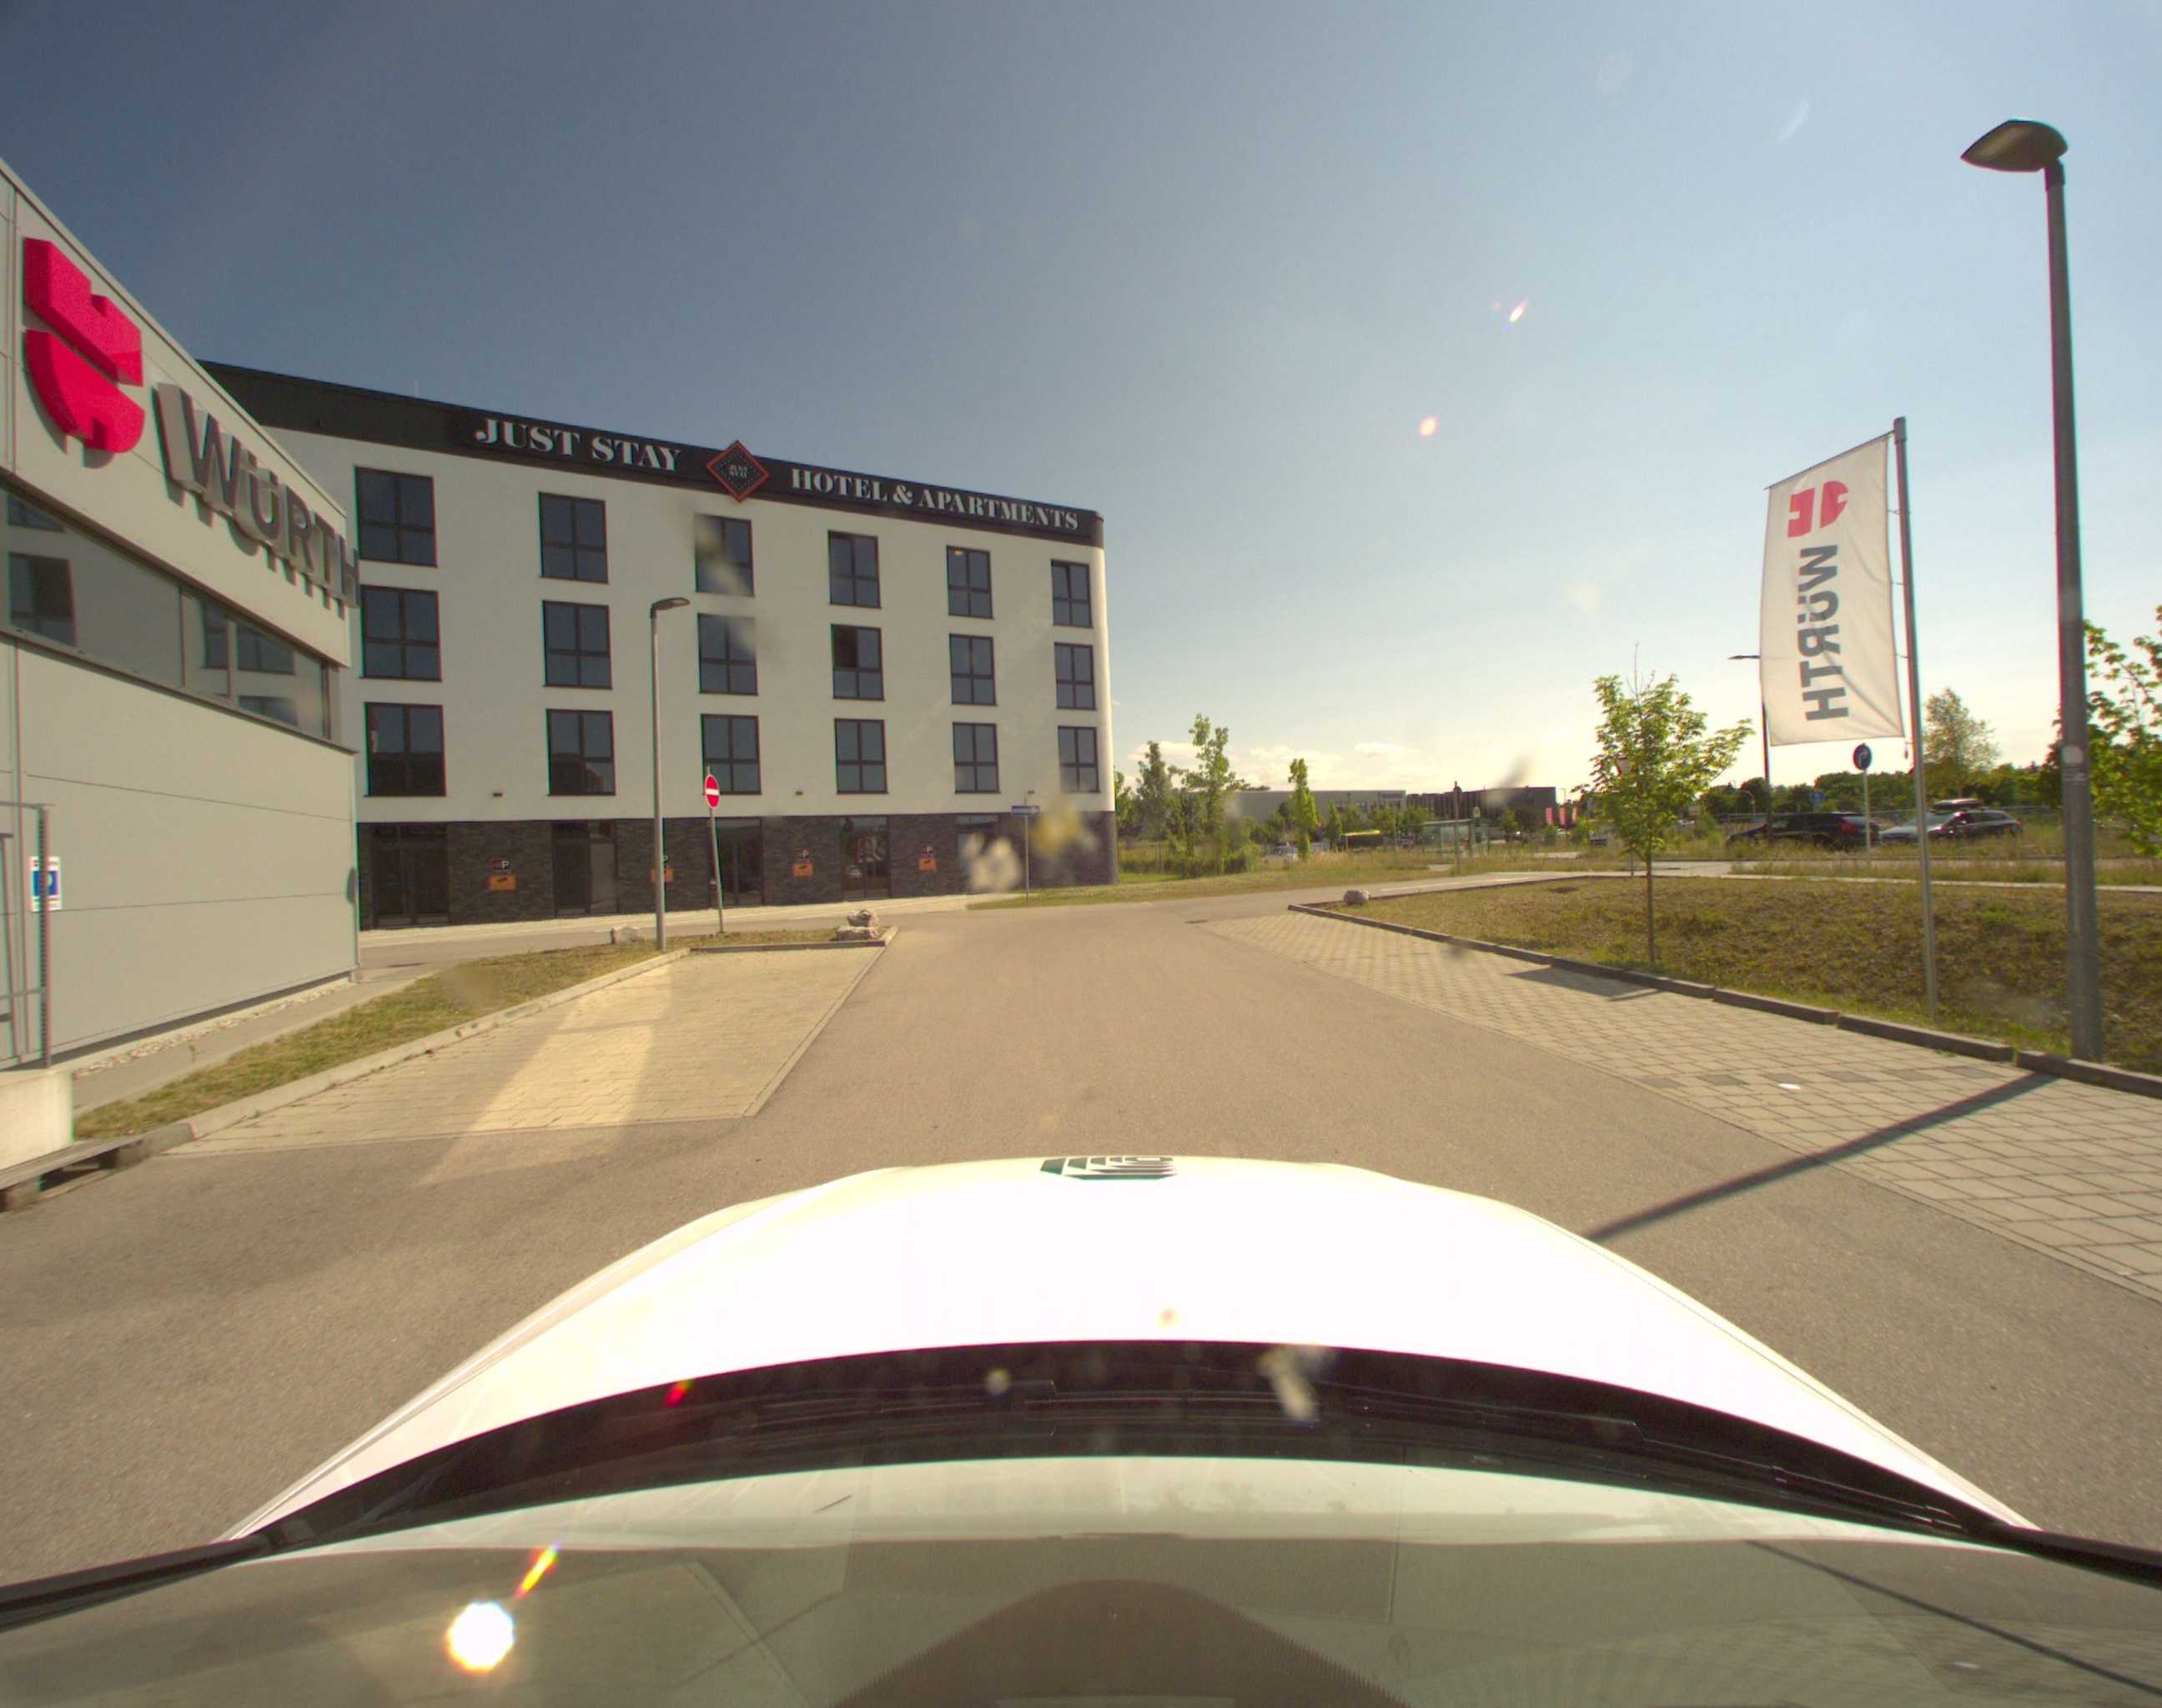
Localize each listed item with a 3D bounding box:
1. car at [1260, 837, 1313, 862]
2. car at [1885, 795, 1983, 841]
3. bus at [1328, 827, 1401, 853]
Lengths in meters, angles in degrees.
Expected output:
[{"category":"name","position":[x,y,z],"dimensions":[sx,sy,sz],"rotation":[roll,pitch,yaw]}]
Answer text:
[{"category":"car","position":[13.572,-0.303,53.978],"dimensions":[1.740,1.551,3.762],"rotation":[-2,0,-16]},{"category":"car","position":[31.405,-1.296,29.944],"dimensions":[4.216,1.517,1.978],"rotation":[-2,0,-37]},{"category":"bus","position":[35.947,-1.805,102.837],"dimensions":[11.623,2.735,2.551],"rotation":[-3,1,-37]}]
